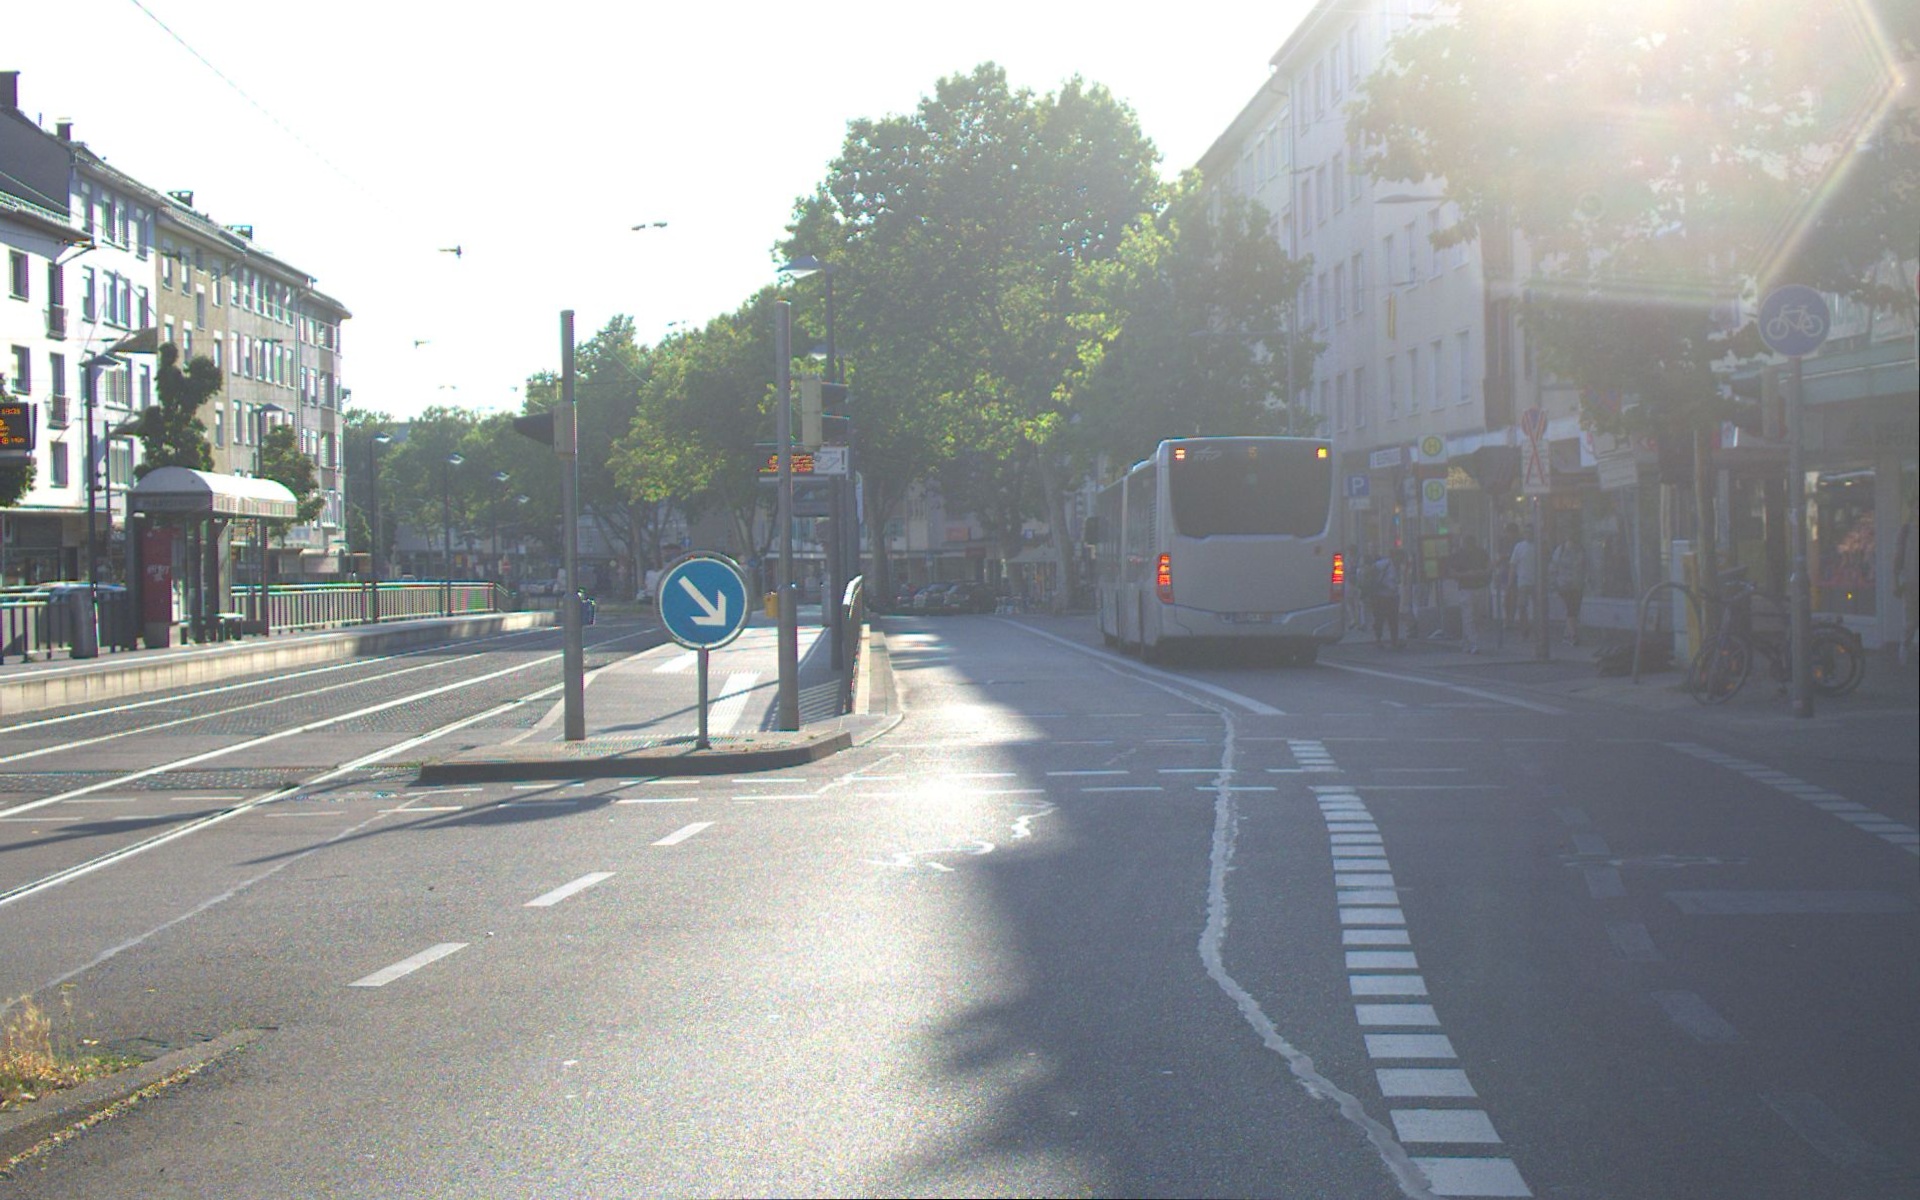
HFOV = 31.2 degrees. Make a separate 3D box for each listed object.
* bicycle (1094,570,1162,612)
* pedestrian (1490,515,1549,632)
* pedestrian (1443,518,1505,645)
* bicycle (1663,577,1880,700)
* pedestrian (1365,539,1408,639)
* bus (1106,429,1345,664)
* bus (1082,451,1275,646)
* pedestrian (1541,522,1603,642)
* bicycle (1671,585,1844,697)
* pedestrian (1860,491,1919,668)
[{"bbox_3d":[4.937,-0.275,100.943,1.887,1.073,0.754,-5,1,2],"label":"bicycle"},{"bbox_3d":[8.557,-0.404,52.621,0.723,1.773,0.766,-1,0,-1],"label":"pedestrian"},{"bbox_3d":[7.390,-0.262,49.421,0.723,1.800,0.766,-1,0,-1],"label":"pedestrian"},{"bbox_3d":[7.357,0.343,31.197,1.798,1.005,0.541,-3,1,-4],"label":"bicycle"},{"bbox_3d":[6.783,-0.182,54.728,0.610,1.573,0.851,-1,1,4],"label":"pedestrian"},{"bbox_3d":[3.712,-0.764,50.210,2.696,3.107,9.382,0,1,0],"label":"bus"},{"bbox_3d":[3.651,-0.871,59.418,2.696,3.107,9.070,0,1,0],"label":"bus"},{"bbox_3d":[8.940,-0.263,50.220,0.723,1.717,0.766,-1,0,-1],"label":"pedestrian"},{"bbox_3d":[7.386,0.376,31.854,1.482,1.005,0.454,-1,1,-4],"label":"bicycle"},{"bbox_3d":[9.635,-0.212,34.899,0.743,1.774,0.895,0,0,-1],"label":"pedestrian"}]
